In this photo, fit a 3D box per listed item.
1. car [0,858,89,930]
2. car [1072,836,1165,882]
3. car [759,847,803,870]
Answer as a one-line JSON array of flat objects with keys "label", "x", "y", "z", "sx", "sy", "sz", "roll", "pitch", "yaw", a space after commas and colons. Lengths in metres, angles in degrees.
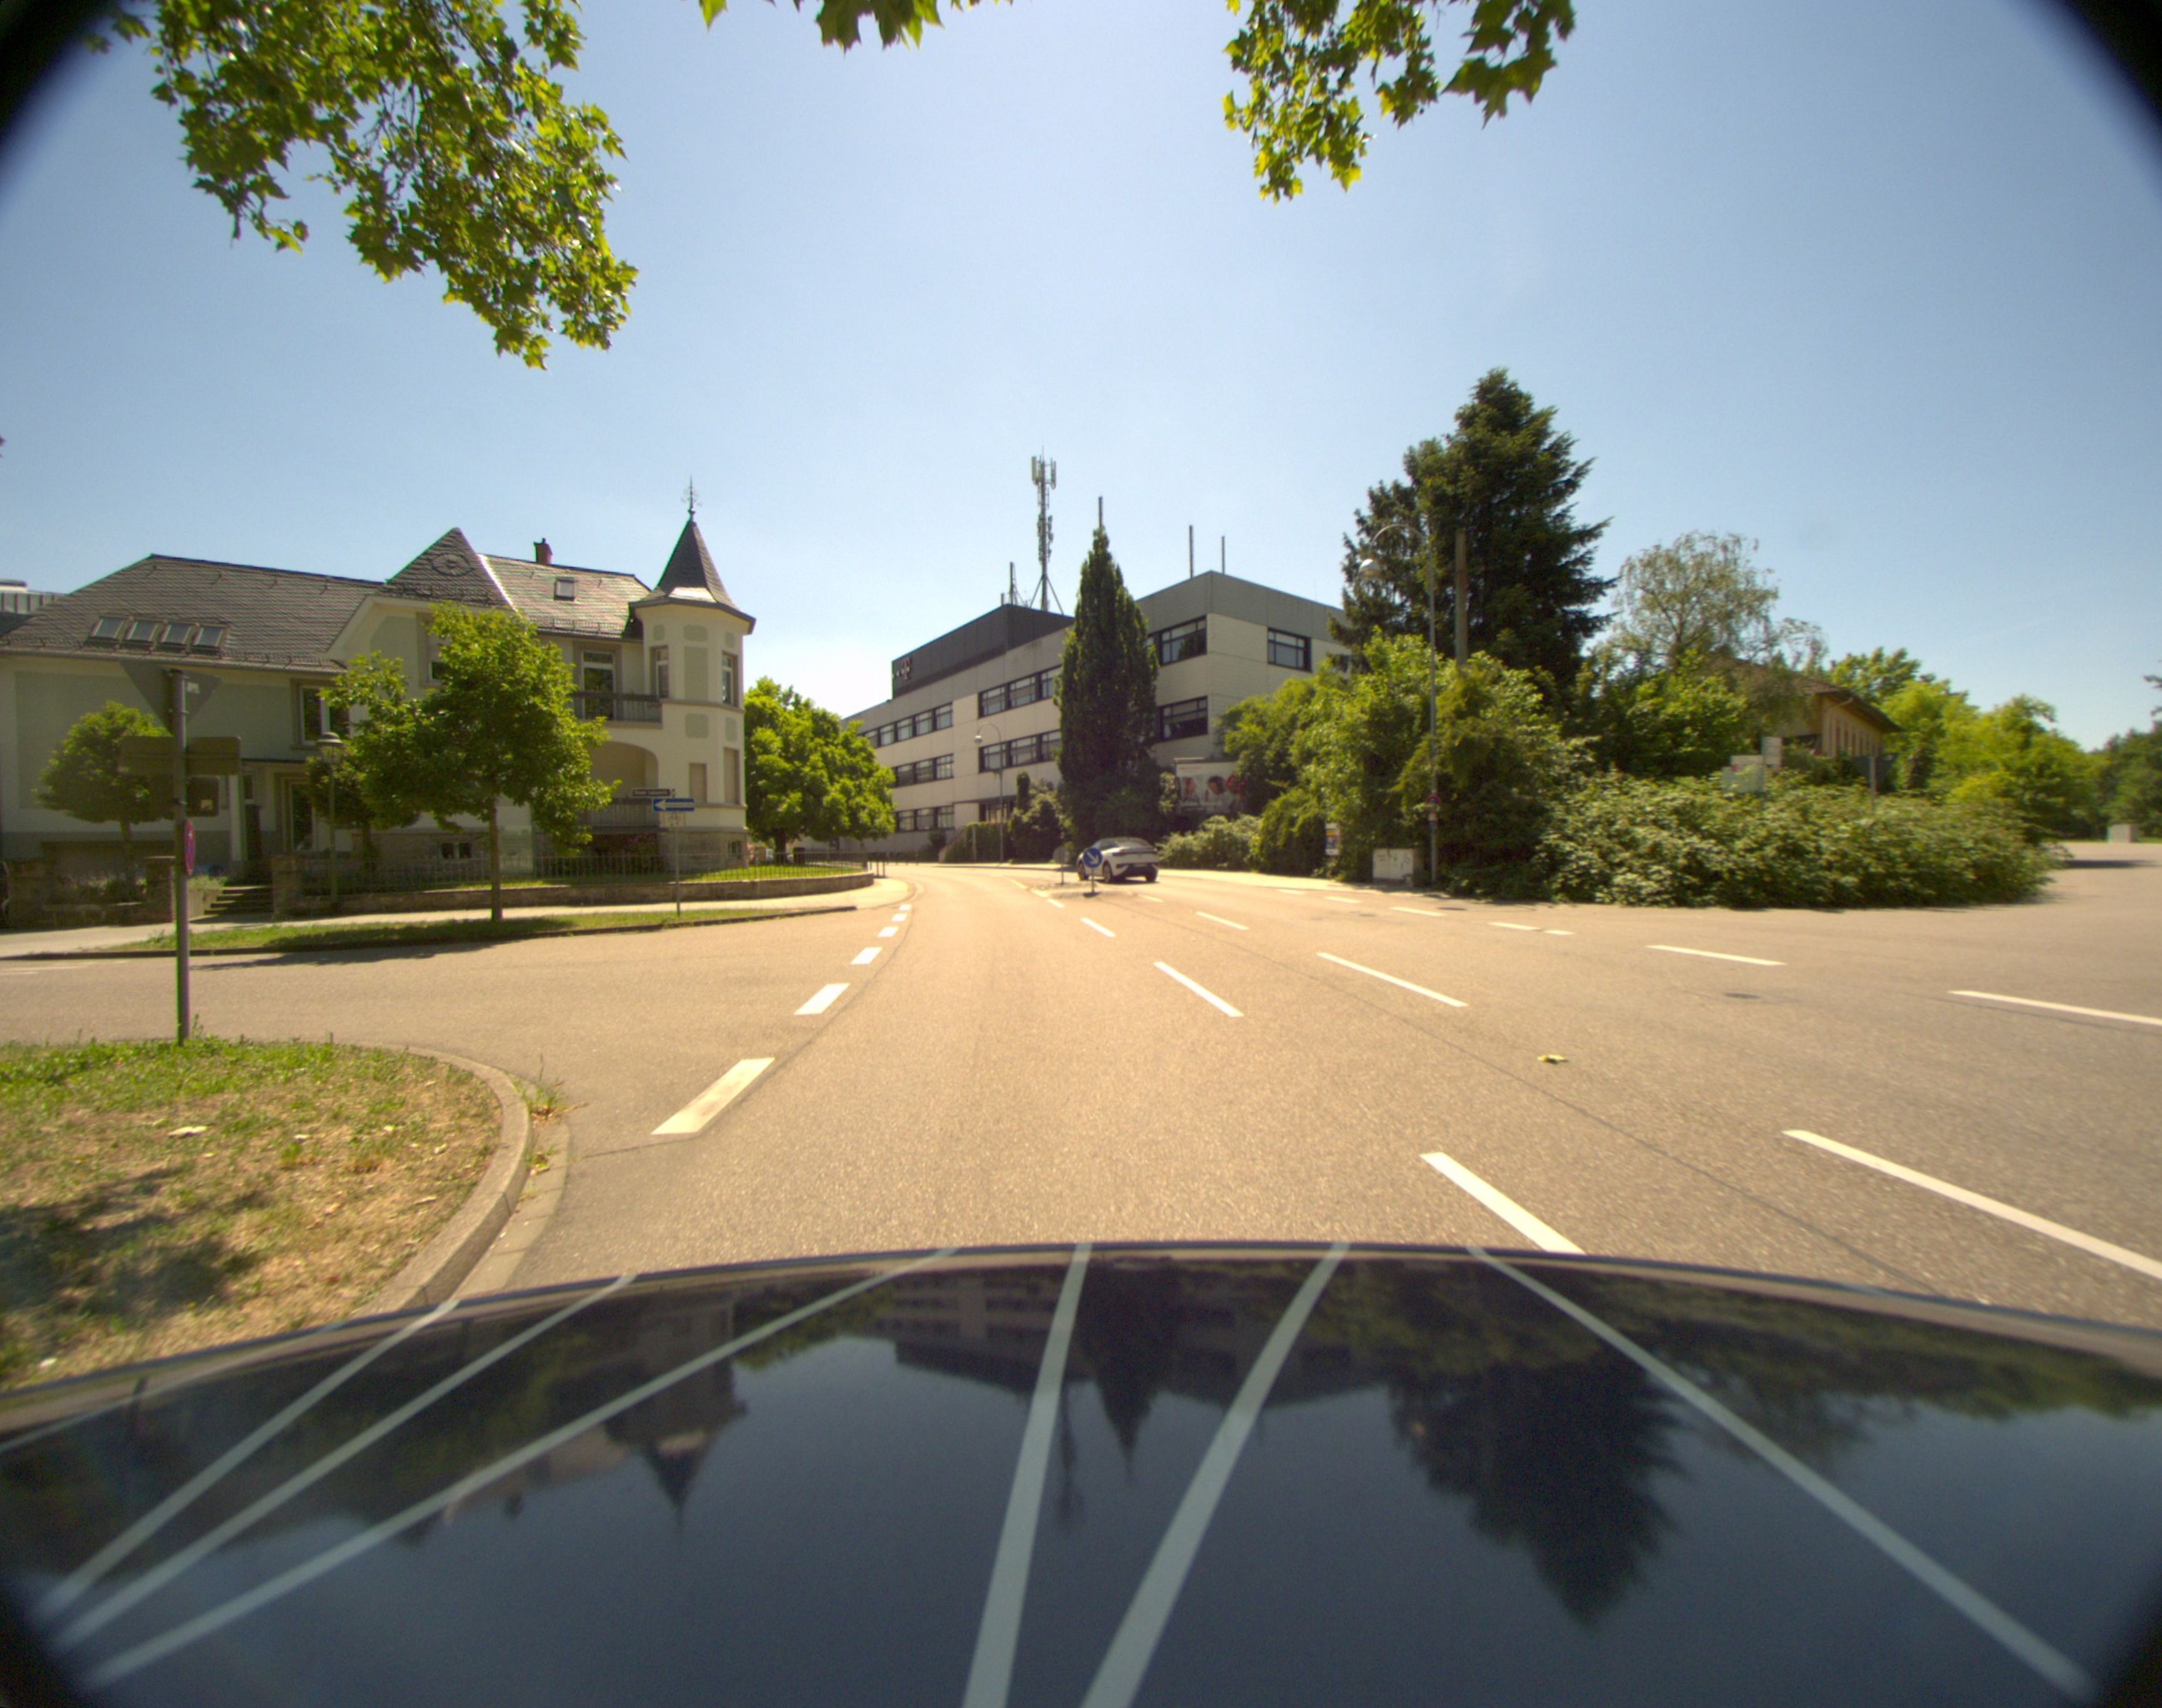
[{"label": "car", "x": -25.882, "y": 0.931, "z": 17.770, "sx": 2.003, "sy": 1.559, "sz": 3.989, "roll": -2, "pitch": 2, "yaw": -34}, {"label": "car", "x": 1.308, "y": 0.171, "z": 28.318, "sx": 1.852, "sy": 1.522, "sz": 4.331, "roll": -2, "pitch": 1, "yaw": -21}, {"label": "car", "x": -21.463, "y": 0.274, "z": 54.292, "sx": 1.778, "sy": 1.533, "sz": 3.988, "roll": -3, "pitch": 2, "yaw": -39}]
